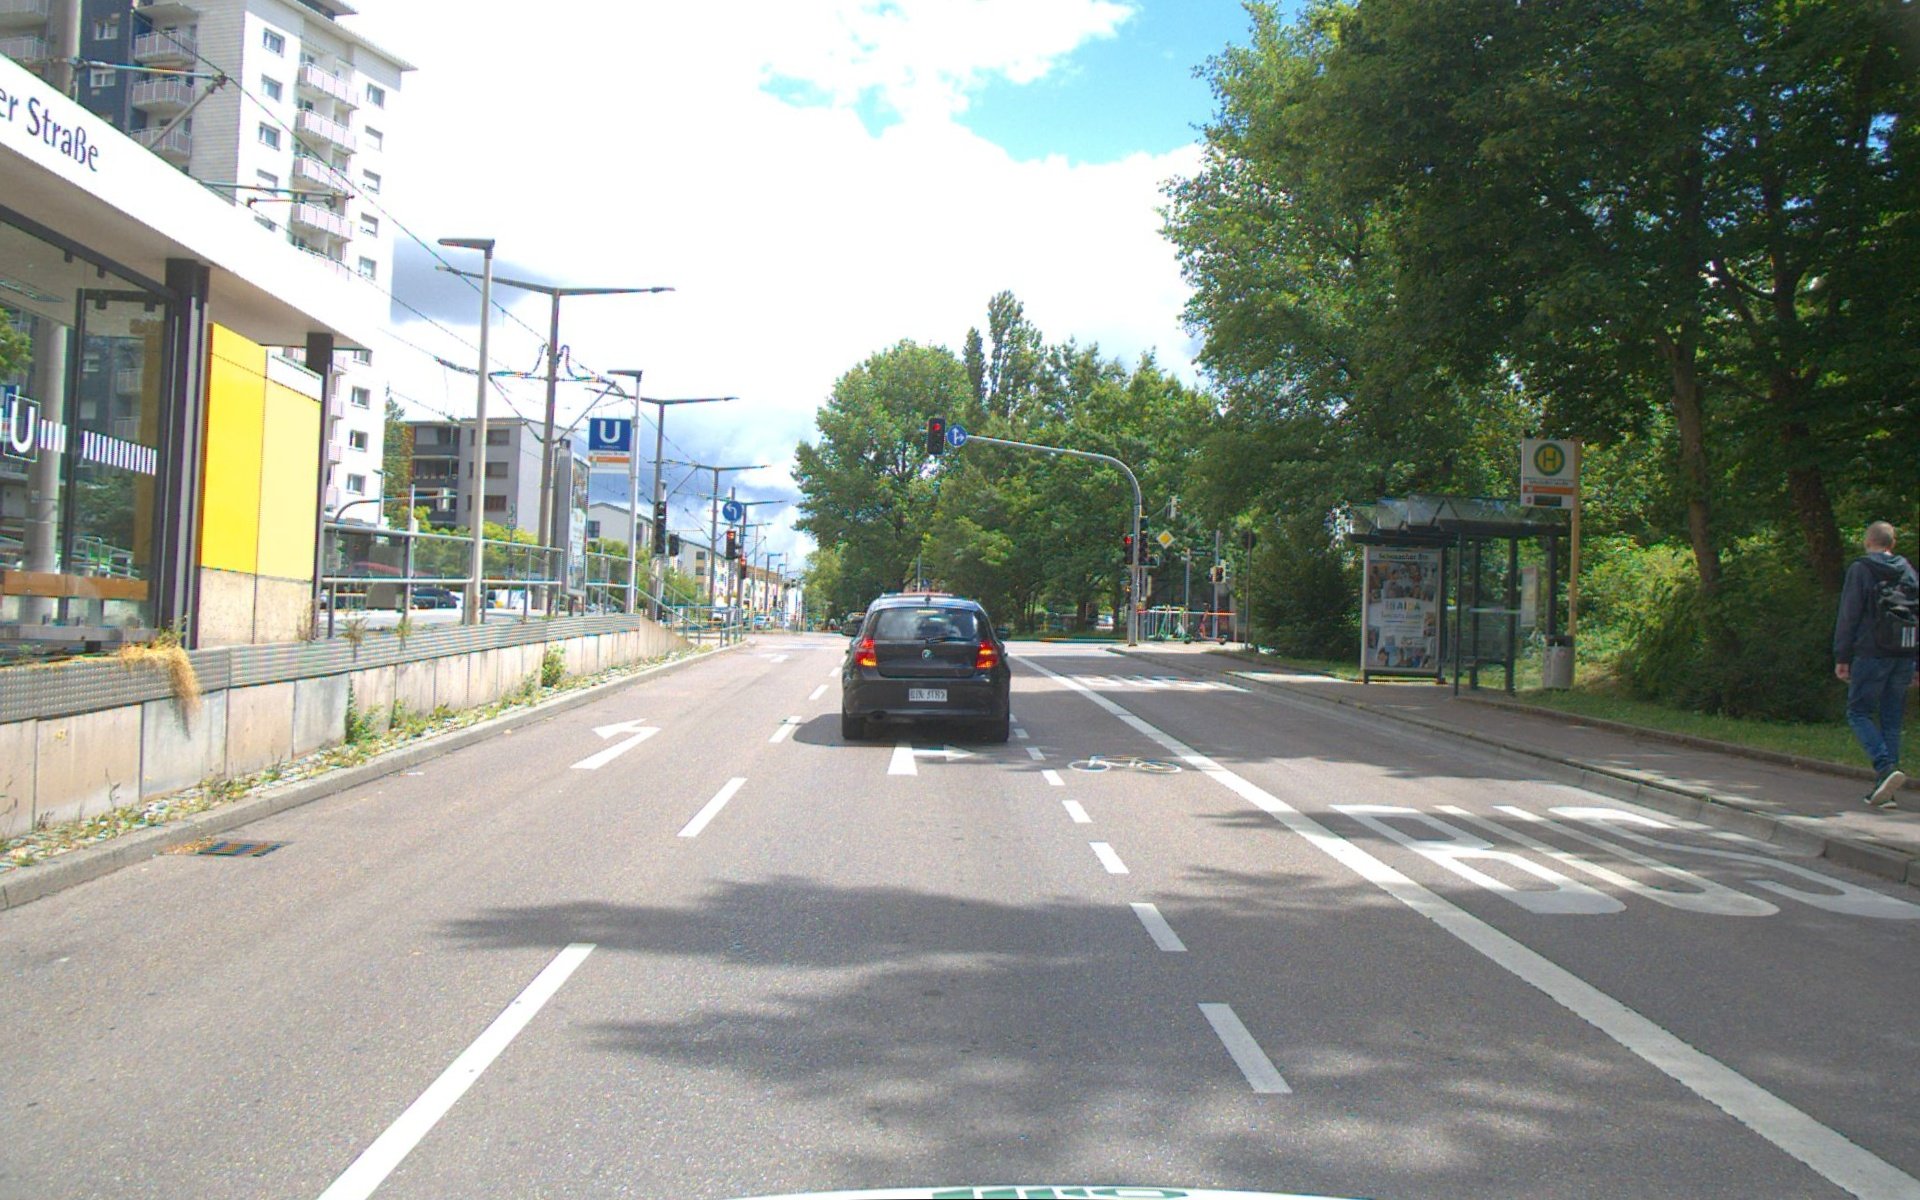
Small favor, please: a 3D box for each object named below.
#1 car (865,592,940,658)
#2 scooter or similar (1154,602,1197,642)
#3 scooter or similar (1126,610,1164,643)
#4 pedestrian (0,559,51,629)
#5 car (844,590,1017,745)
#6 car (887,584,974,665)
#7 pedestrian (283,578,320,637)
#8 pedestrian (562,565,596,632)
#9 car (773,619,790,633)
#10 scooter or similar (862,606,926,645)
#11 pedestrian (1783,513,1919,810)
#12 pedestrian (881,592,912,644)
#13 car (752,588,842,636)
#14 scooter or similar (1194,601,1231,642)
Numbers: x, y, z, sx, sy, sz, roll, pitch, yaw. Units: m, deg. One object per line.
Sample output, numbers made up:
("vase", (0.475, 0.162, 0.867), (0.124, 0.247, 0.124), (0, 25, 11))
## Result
("car", (-1.357, 0.544, 38.328), (1.621, 1.443, 3.515), (1, 0, -3))
("scooter or similar", (6.663, 0.675, 51.170), (1.267, 1.210, 0.383), (1, 0, -17))
("scooter or similar", (5.586, 0.796, 50.021), (1.102, 0.974, 0.299), (1, 0, -17))
("pedestrian", (-23.298, -0.155, 41.235), (0.839, 1.726, 0.689), (1, 0, 16))
("car", (-0.271, 0.636, 17.506), (1.620, 1.443, 3.517), (1, 0, 0))
("car", (-0.558, 0.443, 31.737), (1.562, 1.443, 3.516), (1, 0, -1))
("pedestrian", (-15.698, 0.175, 39.423), (0.680, 1.366, 0.851), (1, 0, -32))
("pedestrian", (-9.537, -0.042, 41.411), (0.686, 1.661, 0.638), (0, 0, -1))
("car", (-22.463, 3.253, 207.738), (1.928, 1.624, 3.997), (1, 0, -4))
("scooter or similar", (-1.865, 0.718, 46.881), (1.751, 1.069, 0.409), (1, 0, -15))
("pedestrian", (6.408, 0.403, 11.413), (0.785, 1.928, 1.270), (1, 0, -1))
("pedestrian", (-1.819, 0.498, 47.446), (0.847, 1.468, 0.798), (1, 0, -1))
("car", (-7.393, 0.544, 74.858), (3.663, 2.049, 1.799), (1, 0, -25))
("scooter or similar", (7.956, 0.670, 52.089), (1.088, 1.280, 0.331), (1, 0, -14))
